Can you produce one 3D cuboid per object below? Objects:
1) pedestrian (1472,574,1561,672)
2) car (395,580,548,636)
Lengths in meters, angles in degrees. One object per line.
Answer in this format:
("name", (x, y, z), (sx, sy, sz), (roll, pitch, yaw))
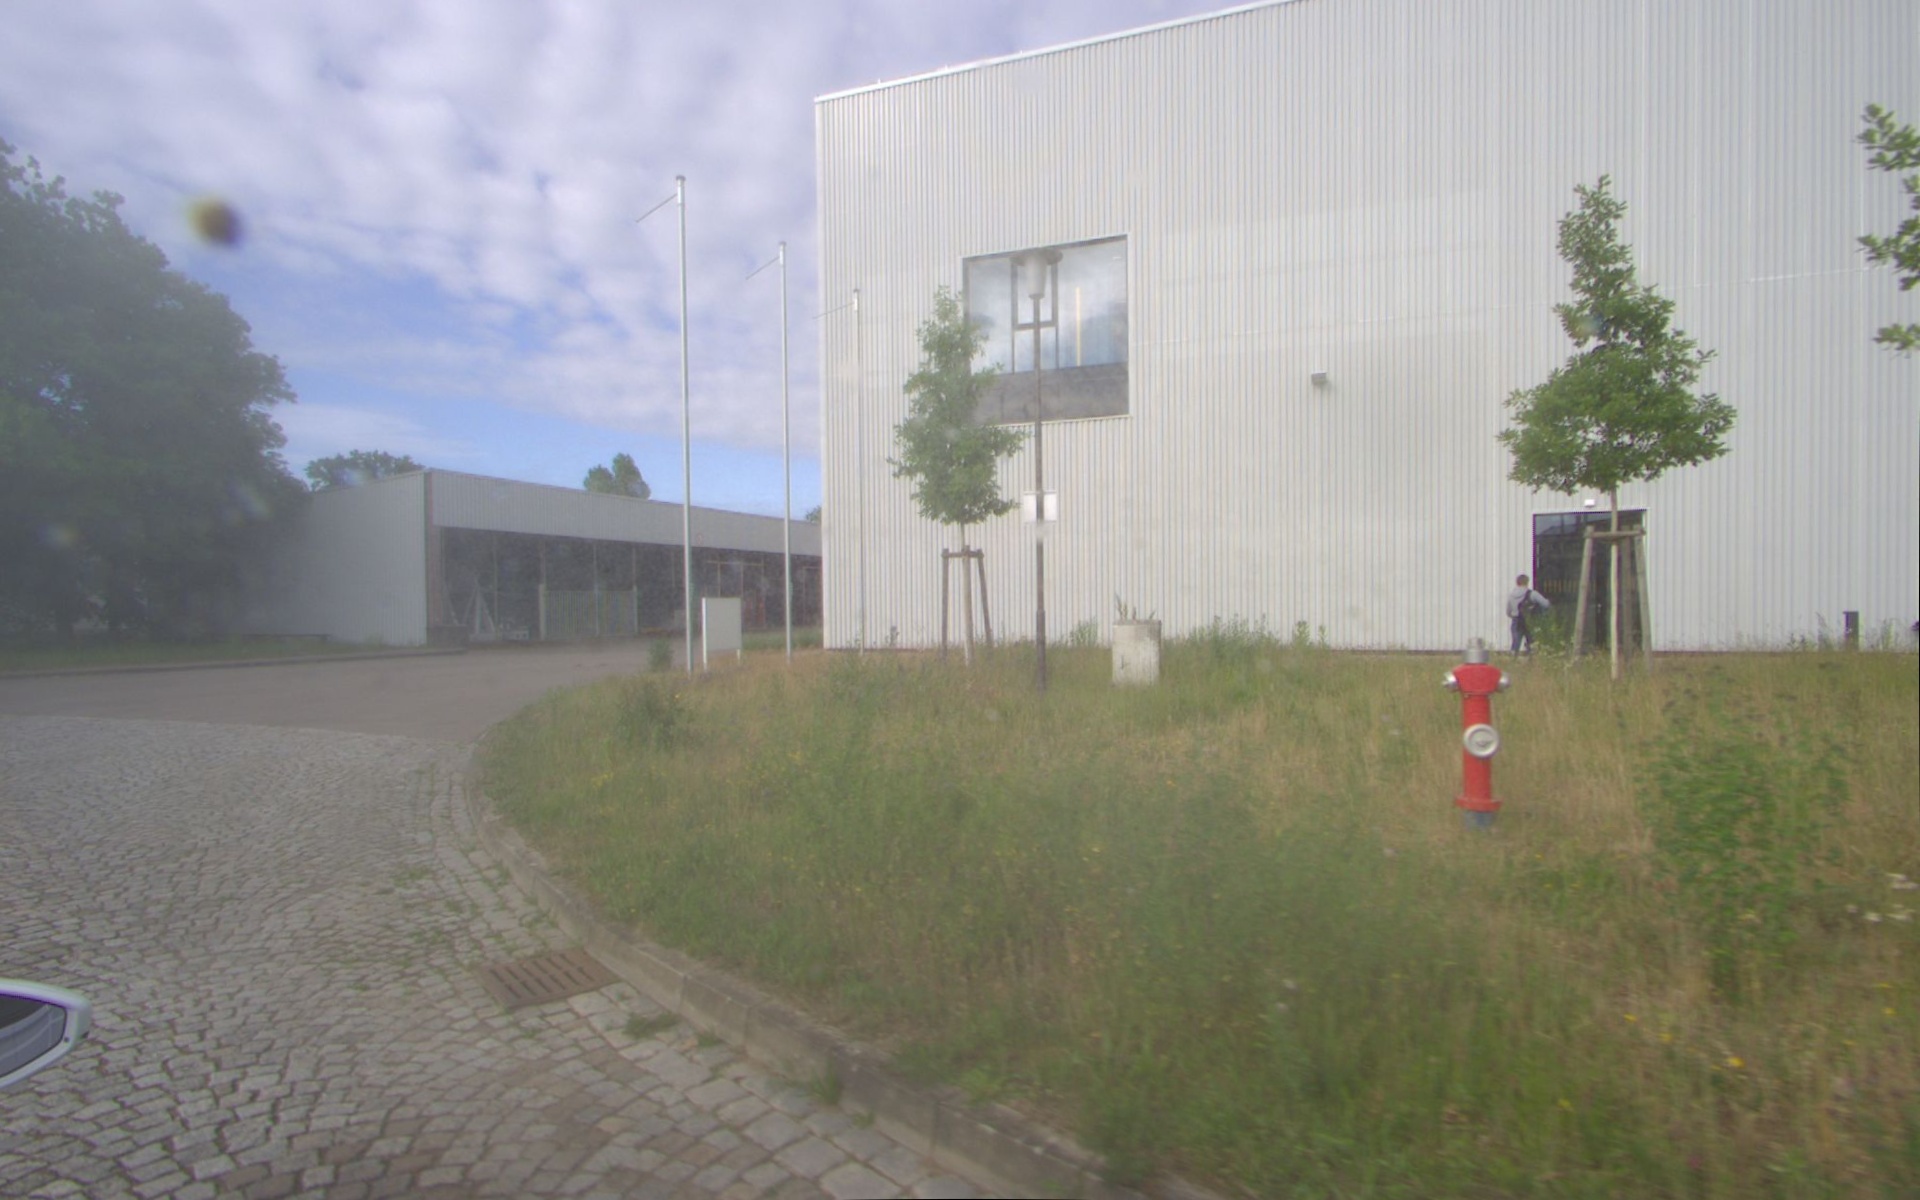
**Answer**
("pedestrian", (9.345, 0.363, 16.802), (1.064, 1.577, 1.068), (0, 1, 45))
("car", (-18.774, 0.308, 38.527), (5.243, 2.040, 2.243), (-1, 1, 20))
